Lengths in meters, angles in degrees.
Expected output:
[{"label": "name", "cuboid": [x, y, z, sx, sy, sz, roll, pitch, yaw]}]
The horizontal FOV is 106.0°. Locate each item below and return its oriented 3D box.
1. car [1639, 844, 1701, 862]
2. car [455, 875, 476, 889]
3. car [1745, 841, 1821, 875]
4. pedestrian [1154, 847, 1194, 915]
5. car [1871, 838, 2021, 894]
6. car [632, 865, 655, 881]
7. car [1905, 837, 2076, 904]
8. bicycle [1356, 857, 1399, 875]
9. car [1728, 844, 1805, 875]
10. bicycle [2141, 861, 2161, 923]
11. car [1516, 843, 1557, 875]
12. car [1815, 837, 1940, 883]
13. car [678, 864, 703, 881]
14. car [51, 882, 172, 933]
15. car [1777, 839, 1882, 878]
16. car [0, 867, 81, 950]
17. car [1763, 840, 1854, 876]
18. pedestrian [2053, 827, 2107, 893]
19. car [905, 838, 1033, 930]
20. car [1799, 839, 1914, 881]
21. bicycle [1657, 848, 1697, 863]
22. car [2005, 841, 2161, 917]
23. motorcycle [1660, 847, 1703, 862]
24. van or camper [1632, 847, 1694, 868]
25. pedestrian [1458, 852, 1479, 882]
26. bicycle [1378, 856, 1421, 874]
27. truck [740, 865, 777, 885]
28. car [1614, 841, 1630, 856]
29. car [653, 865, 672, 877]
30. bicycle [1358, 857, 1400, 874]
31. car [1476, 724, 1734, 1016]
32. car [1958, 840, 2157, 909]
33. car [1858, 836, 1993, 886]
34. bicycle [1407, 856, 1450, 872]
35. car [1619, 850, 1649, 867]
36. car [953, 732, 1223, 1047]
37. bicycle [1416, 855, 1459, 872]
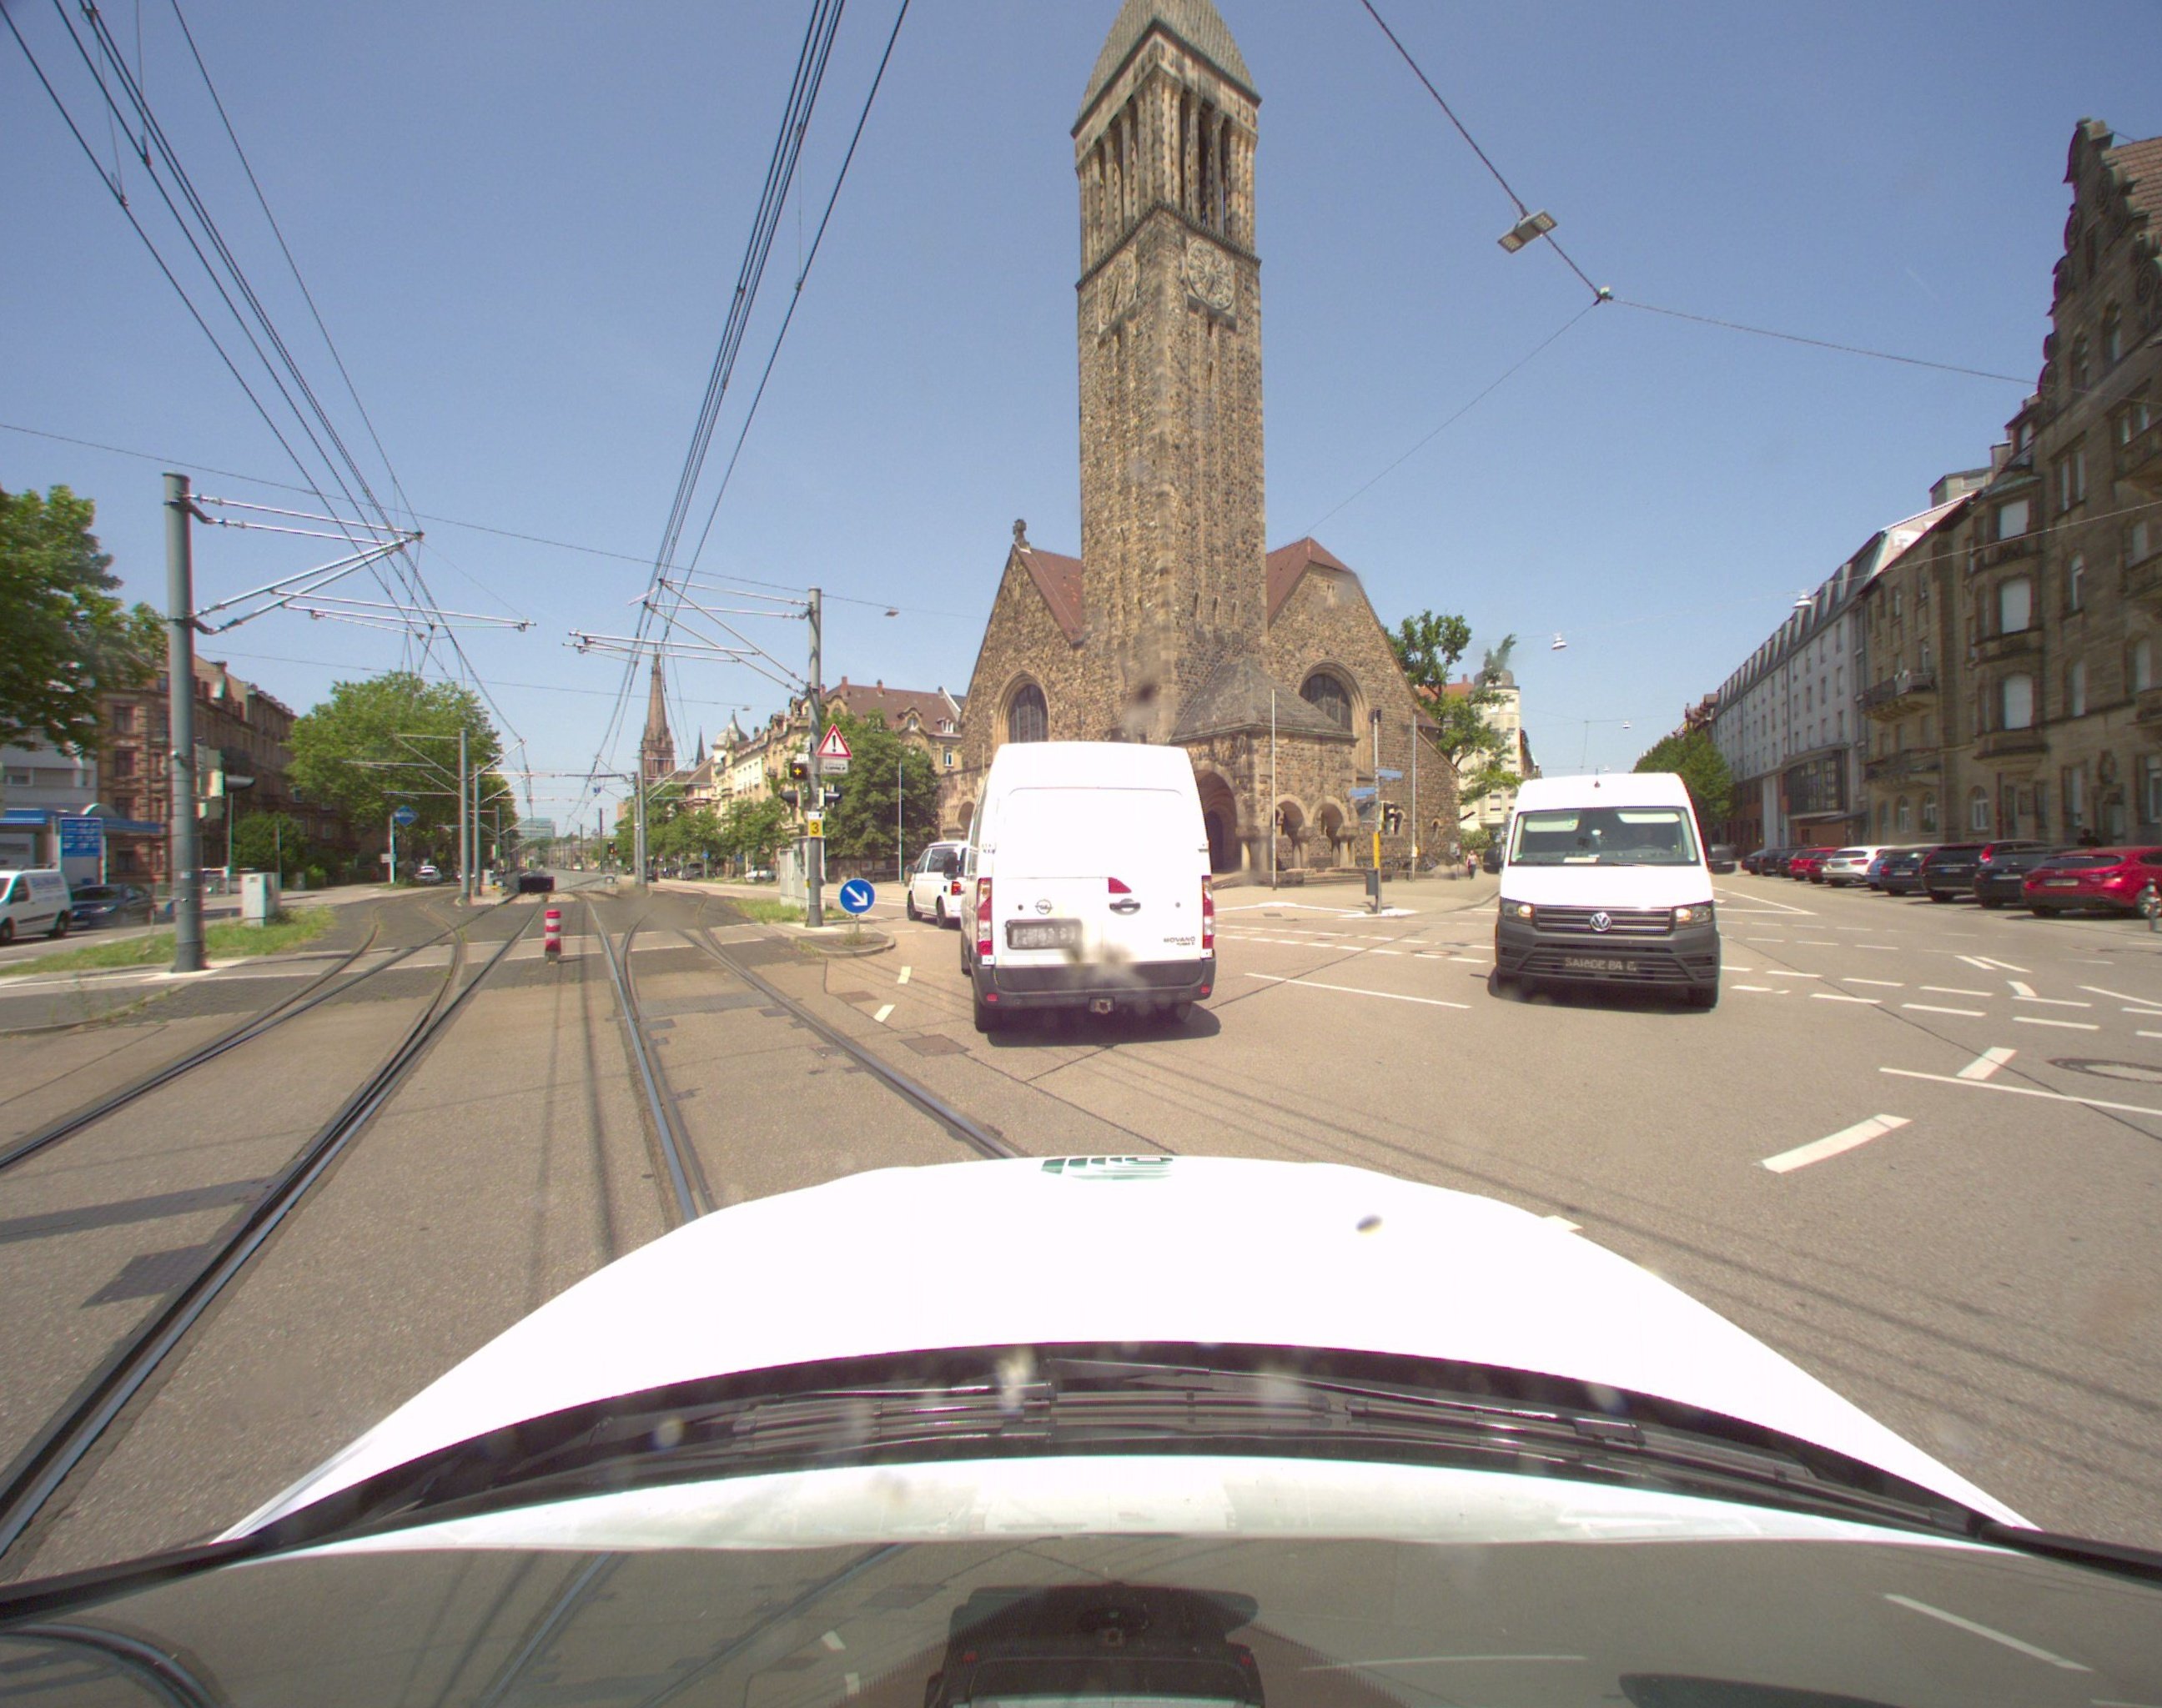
[{"label": "car", "cuboid": [51.075, -0.058, 70.673, 3.965, 1.549, 1.753, -1, -1, 7]}, {"label": "car", "cuboid": [-80.091, 3.647, 106.031, 1.860, 1.625, 4.554, -2, 0, -33]}, {"label": "car", "cuboid": [36.291, 0.216, 42.115, 3.226, 1.575, 1.486, -1, -2, -20]}, {"label": "pedestrian", "cuboid": [2.546, 0.721, 22.368, 0.746, 1.822, 0.826, 0, -1, -27]}, {"label": "car", "cuboid": [27.064, 0.393, 25.530, 3.215, 1.575, 1.612, -2, -2, -9]}, {"label": "car", "cuboid": [-45.420, 1.941, 84.498, 1.763, 1.539, 3.718, 0, -1, -35]}, {"label": "car", "cuboid": [25.179, 0.460, 22.606, 3.215, 1.665, 1.612, -2, -2, -9]}, {"label": "bicycle", "cuboid": [17.397, 0.718, 47.817, 0.709, 1.011, 2.473, -1, 0, -32]}, {"label": "car", "cuboid": [37.604, 0.308, 44.710, 3.222, 1.575, 1.608, -2, -2, -15]}, {"label": "bicycle", "cuboid": [21.247, 0.694, 15.137, 1.783, 1.151, 0.568, -2, -2, 26]}, {"label": "car", "cuboid": [30.102, 0.323, 53.723, 2.018, 2.004, 5.000, -1, 0, 33]}, {"label": "car", "cuboid": [30.187, 0.243, 30.902, 3.210, 1.575, 1.614, -2, -2, -4]}, {"label": "car", "cuboid": [-41.173, 1.946, 85.815, 1.763, 1.706, 3.718, 0, -1, -35]}, {"label": "car", "cuboid": [-32.143, 1.733, 27.130, 1.608, 1.420, 3.741, -3, 1, -35]}, {"label": "car", "cuboid": [33.307, 0.225, 36.283, 3.210, 1.575, 1.614, -2, -2, -4]}, {"label": "car", "cuboid": [-28.154, 1.363, 21.000, 1.790, 1.991, 4.752, -1, 0, -36]}, {"label": "car", "cuboid": [34.625, 0.196, 38.800, 3.220, 1.575, 1.609, -2, -2, -13]}, {"label": "pedestrian", "cuboid": [31.125, 0.187, 25.394, 0.856, 2.014, 1.108, -1, -1, 41]}, {"label": "car", "cuboid": [-2.811, 0.655, 19.577, 1.926, 1.944, 4.229, 0, -1, -24]}, {"label": "car", "cuboid": [31.839, 0.264, 33.481, 3.210, 1.575, 1.614, -2, -2, -4]}, {"label": "bicycle", "cuboid": [48.960, 0.148, 66.919, 2.575, 1.174, 0.684, -1, -1, 8]}, {"label": "car", "cuboid": [22.095, 0.497, 17.232, 3.207, 1.479, 1.616, -2, -2, -1]}, {"label": "motorcycle", "cuboid": [47.084, 0.027, 63.871, 2.683, 1.174, 0.780, -1, -1, 33]}, {"label": "van or camper", "cuboid": [53.705, 0.320, 75.224, 4.292, 1.838, 2.003, -1, 0, 4]}, {"label": "pedestrian", "cuboid": [20.163, 0.687, 42.391, 0.796, 1.559, 0.712, 0, -1, -41]}, {"label": "bicycle", "cuboid": [19.513, 0.670, 49.947, 0.709, 1.011, 2.473, -1, 0, -32]}, {"label": "truck", "cuboid": [-25.371, 1.614, 63.971, 1.803, 1.526, 4.417, -1, 0, -35]}, {"label": "car", "cuboid": [80.536, -0.798, 121.157, 1.888, 2.014, 4.025, -2, -2, 33]}, {"label": "car", "cuboid": [-54.116, 2.172, 105.258, 1.763, 1.578, 3.718, 0, -1, -35]}, {"label": "bicycle", "cuboid": [17.963, 0.703, 49.121, 0.709, 1.011, 2.473, -1, 0, -32]}, {"label": "car", "cuboid": [6.725, 0.113, 10.730, 2.050, 2.637, 6.676, -1, 0, 31]}, {"label": "car", "cuboid": [23.690, 0.501, 19.812, 3.215, 1.479, 1.612, -2, -2, -9]}, {"label": "car", "cuboid": [28.990, 0.262, 28.014, 3.215, 1.575, 1.612, -2, -2, -9]}, {"label": "bicycle", "cuboid": [21.684, 0.624, 50.813, 0.709, 1.011, 2.473, -1, 0, -32]}, {"label": "car", "cuboid": [58.233, 0.437, 85.866, 1.936, 1.750, 4.023, -1, 0, 24]}, {"label": "car", "cuboid": [-0.303, 0.298, 9.041, 2.117, 2.459, 5.036, 0, -1, -10]}, {"label": "bicycle", "cuboid": [22.506, 0.606, 51.437, 0.709, 1.011, 2.473, -1, 0, -32]}]
